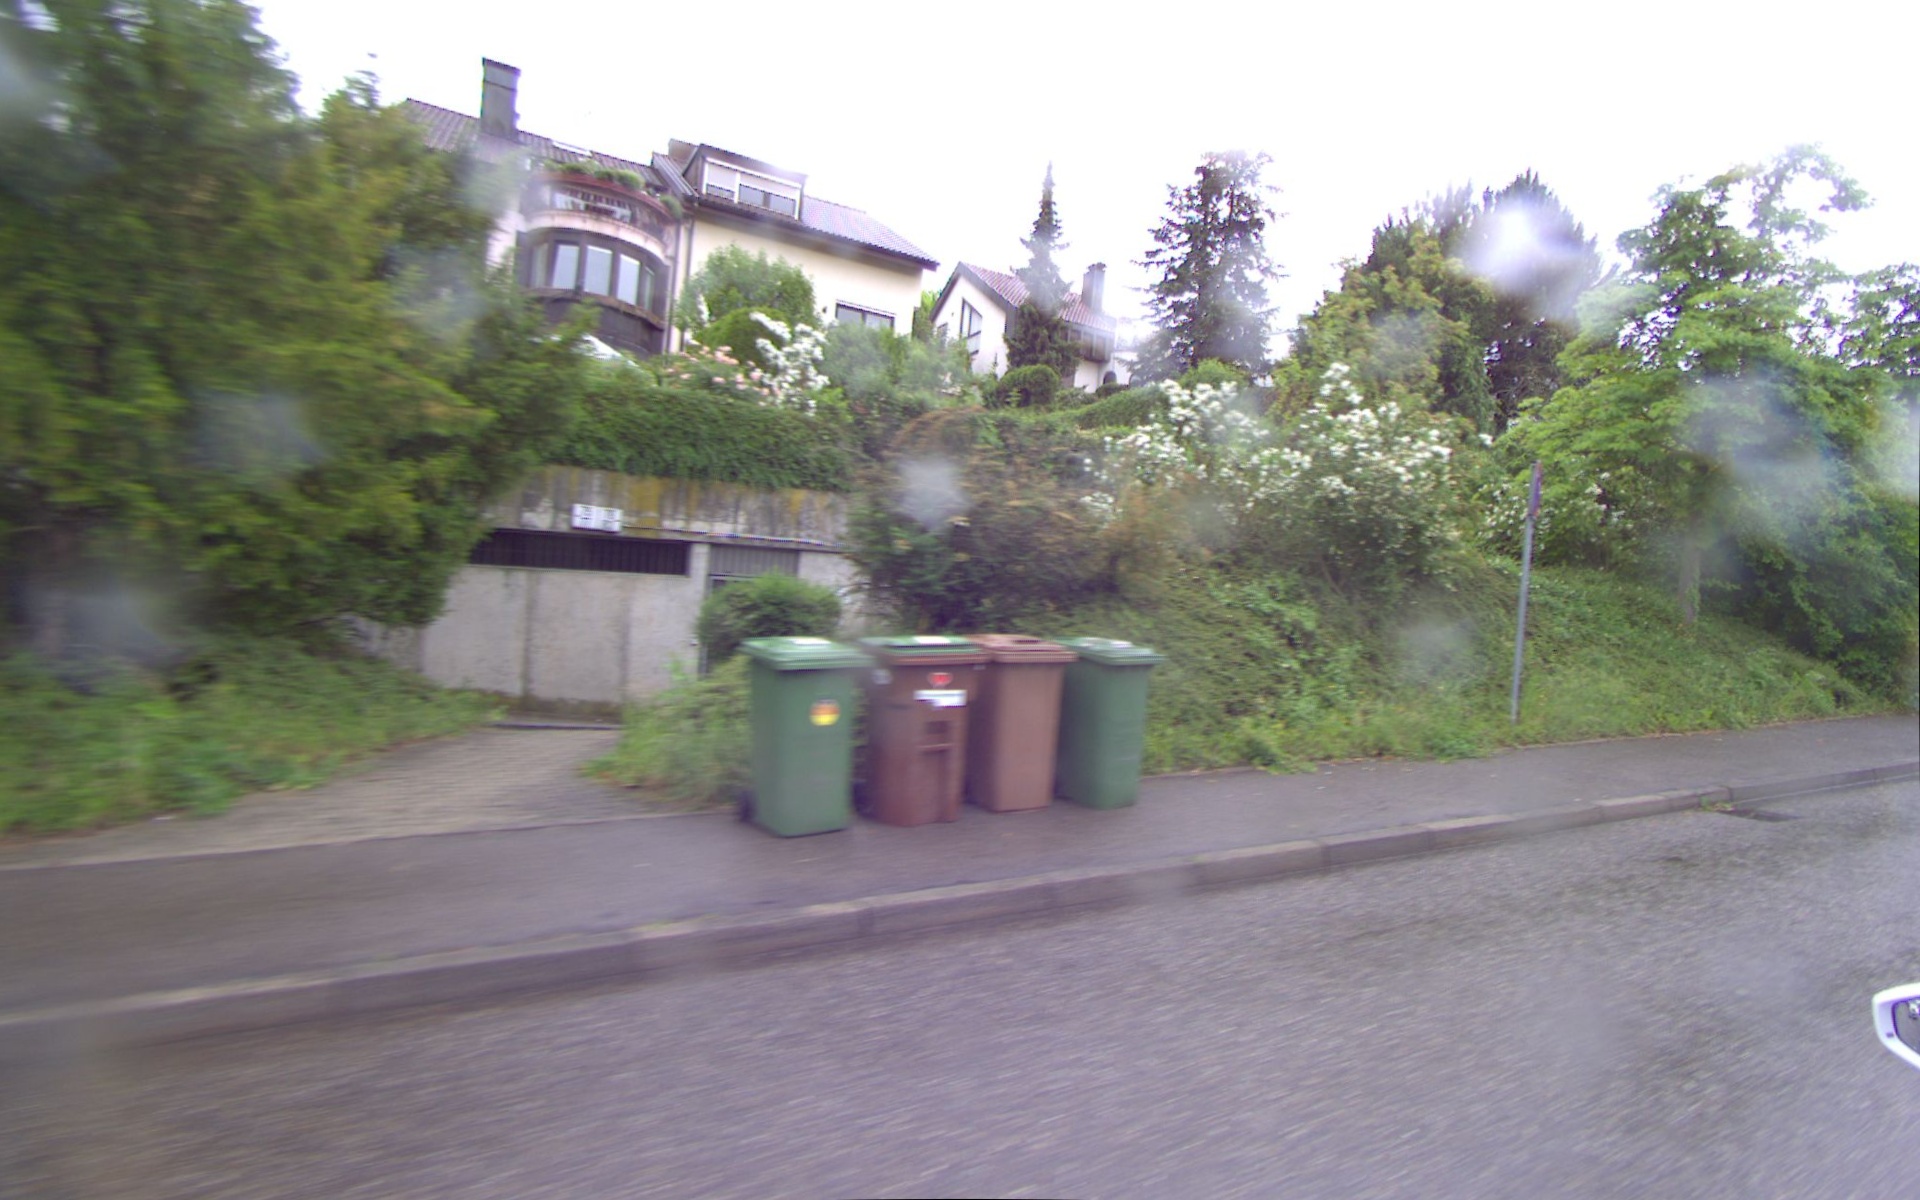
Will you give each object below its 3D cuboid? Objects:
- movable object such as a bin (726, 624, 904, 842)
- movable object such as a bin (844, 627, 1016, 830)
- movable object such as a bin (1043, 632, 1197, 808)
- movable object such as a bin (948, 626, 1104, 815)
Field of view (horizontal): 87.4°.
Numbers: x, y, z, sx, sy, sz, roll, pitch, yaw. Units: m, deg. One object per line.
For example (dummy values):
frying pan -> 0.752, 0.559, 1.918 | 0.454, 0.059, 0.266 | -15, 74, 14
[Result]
movable object such as a bin -> -0.834, 0.708, 5.727 | 0.730, 1.111, 0.763 | 2, -1, -34
movable object such as a bin -> -0.190, 0.731, 6.096 | 0.730, 1.111, 0.763 | 2, -1, -34
movable object such as a bin -> 1.076, 0.772, 6.805 | 0.684, 1.082, 0.763 | 2, -1, -34
movable object such as a bin -> 0.419, 0.734, 6.501 | 0.665, 1.111, 0.763 | 2, -1, -34
